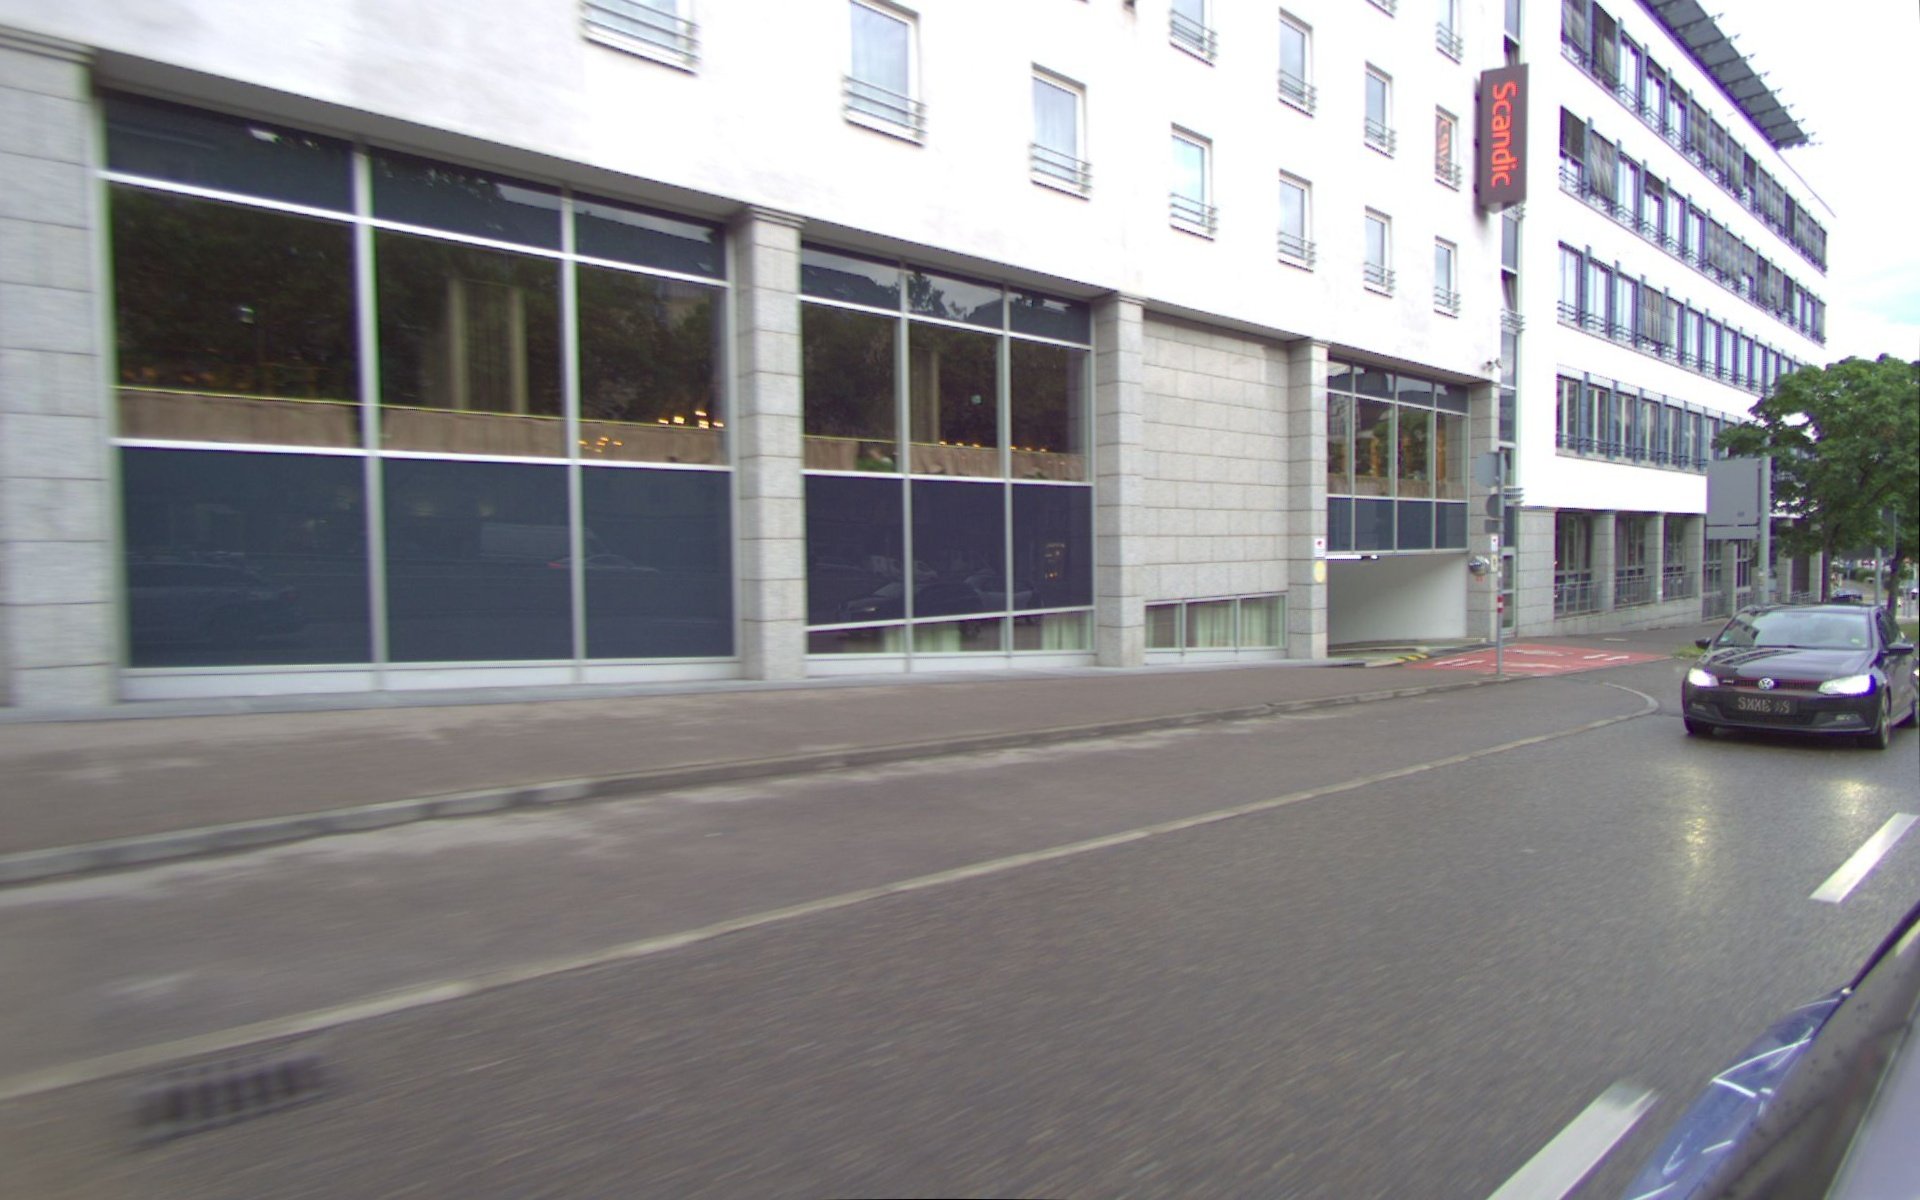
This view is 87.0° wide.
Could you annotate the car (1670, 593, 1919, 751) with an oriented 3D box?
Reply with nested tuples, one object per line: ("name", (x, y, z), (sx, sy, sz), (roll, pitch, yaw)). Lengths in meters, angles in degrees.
("car", (9.510, 0.658, 11.253), (3.780, 1.417, 1.677), (-1, 1, -39))

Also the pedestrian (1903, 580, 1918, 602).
("pedestrian", (73.051, -0.708, 77.786), (0.632, 1.645, 0.707), (-1, 0, -38))

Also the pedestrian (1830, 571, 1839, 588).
("pedestrian", (82.073, -1.909, 94.984), (0.584, 1.630, 0.596), (-1, 0, 36))

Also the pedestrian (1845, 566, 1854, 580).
("pedestrian", (99.009, -3.009, 112.620), (0.582, 1.496, 0.598), (-1, 0, 29))
